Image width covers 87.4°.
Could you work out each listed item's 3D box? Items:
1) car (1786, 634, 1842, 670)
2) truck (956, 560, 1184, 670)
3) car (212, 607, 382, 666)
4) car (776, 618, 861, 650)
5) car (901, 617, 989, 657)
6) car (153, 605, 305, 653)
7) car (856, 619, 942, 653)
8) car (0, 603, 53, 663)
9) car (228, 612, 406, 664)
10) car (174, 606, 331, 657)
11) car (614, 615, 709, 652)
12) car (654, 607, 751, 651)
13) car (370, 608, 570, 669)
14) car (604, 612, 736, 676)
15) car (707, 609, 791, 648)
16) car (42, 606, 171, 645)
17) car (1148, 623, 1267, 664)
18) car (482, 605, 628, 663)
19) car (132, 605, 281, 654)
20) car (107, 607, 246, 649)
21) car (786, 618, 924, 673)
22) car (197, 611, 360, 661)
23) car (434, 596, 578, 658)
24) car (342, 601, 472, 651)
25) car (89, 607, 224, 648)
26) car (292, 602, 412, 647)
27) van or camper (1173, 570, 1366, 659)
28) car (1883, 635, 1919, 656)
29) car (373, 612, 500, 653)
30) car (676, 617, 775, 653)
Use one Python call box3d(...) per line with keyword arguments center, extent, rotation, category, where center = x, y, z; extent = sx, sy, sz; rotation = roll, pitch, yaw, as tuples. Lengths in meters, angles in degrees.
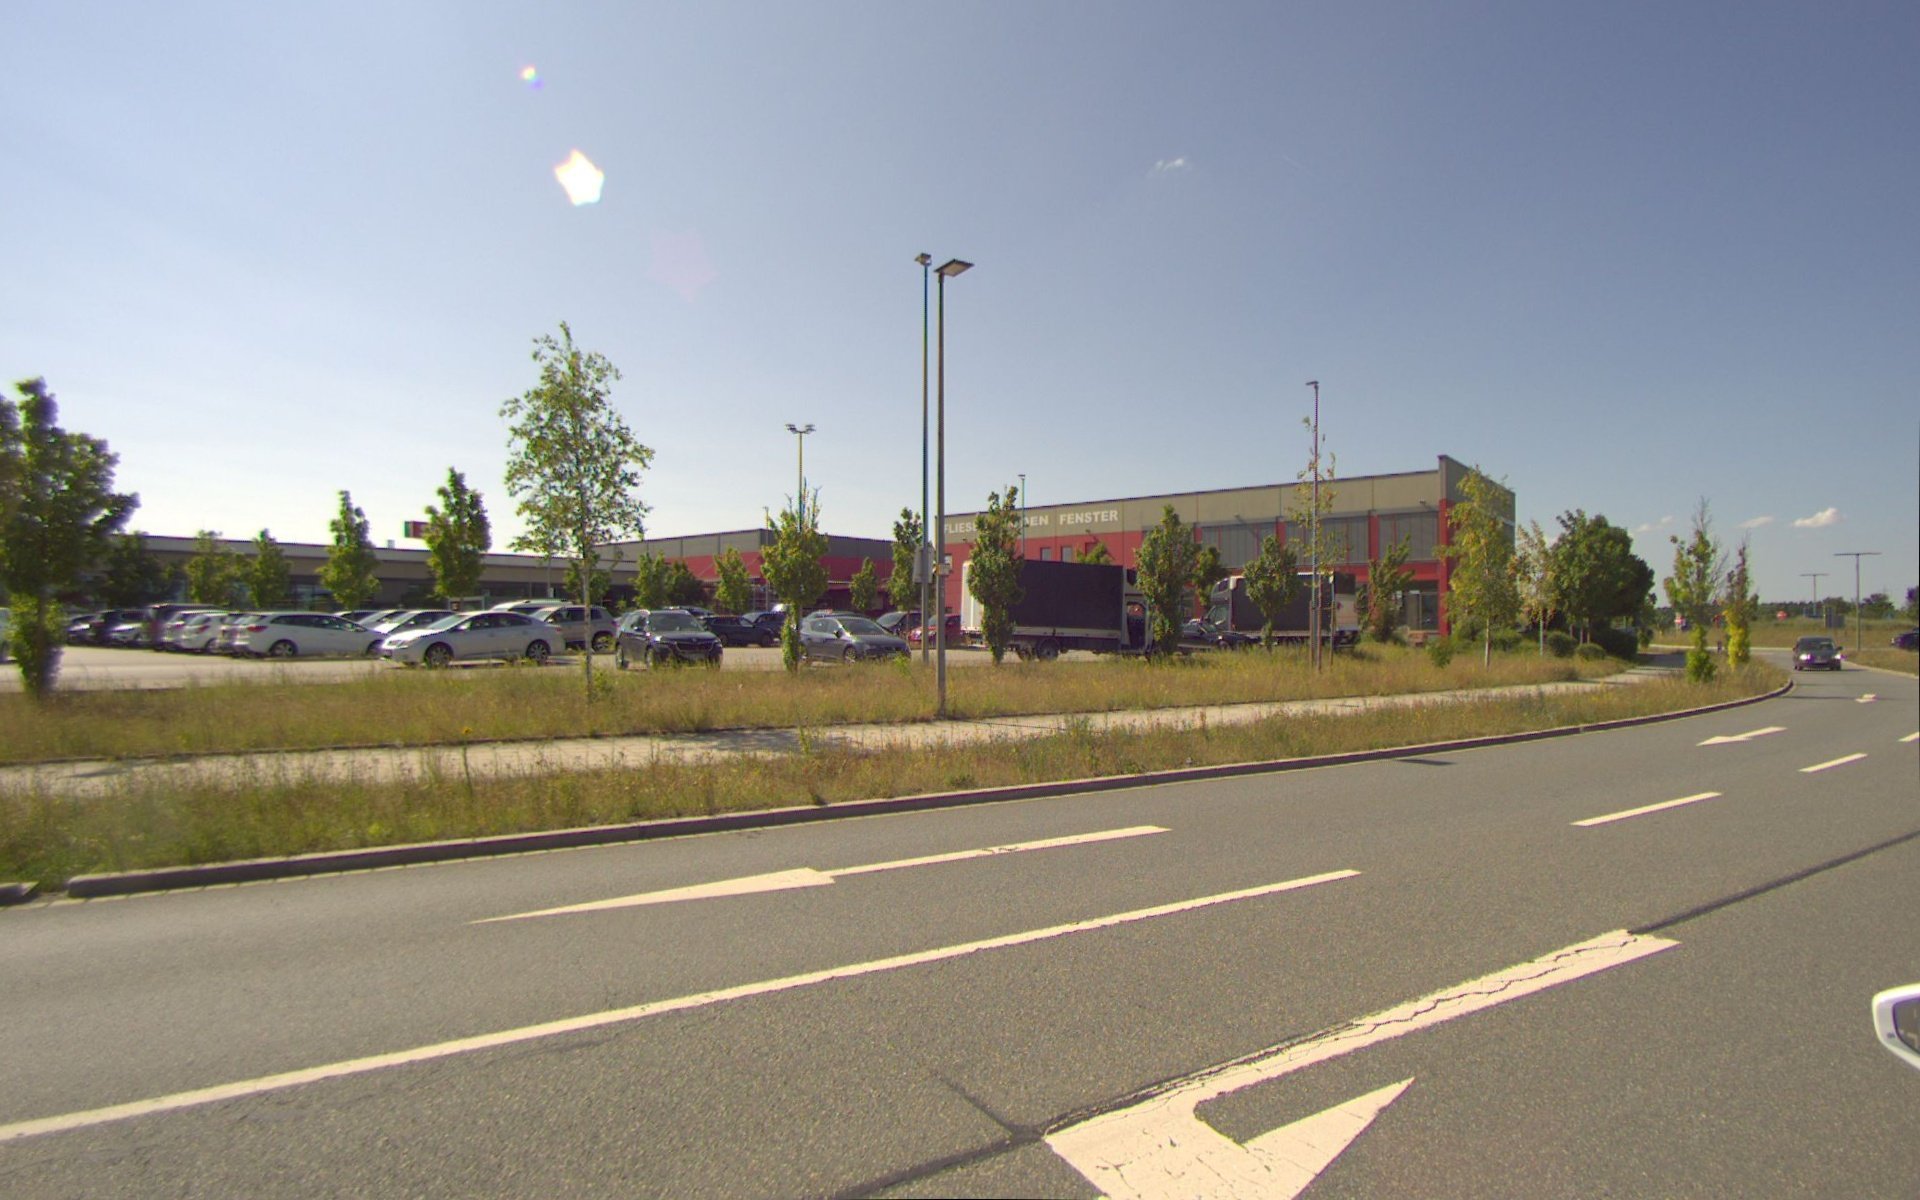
box3d(center=(45.932, 2.789, 54.110), extent=(1.926, 1.818, 4.411), rotation=(-2, -3, 36), category="car")
box3d(center=(3.740, 0.566, 34.037), extent=(7.375, 3.510, 2.315), rotation=(1, -1, -18), category="truck")
box3d(center=(-21.988, 1.210, 33.469), extent=(1.888, 1.827, 4.362), rotation=(-1, -2, 39), category="car")
box3d(center=(-7.273, 1.766, 51.904), extent=(1.809, 1.583, 4.366), rotation=(-1, -2, 37), category="car")
box3d(center=(-0.635, 1.709, 46.831), extent=(1.809, 1.796, 4.366), rotation=(-1, -2, 37), category="car")
box3d(center=(-28.160, 1.119, 38.847), extent=(1.885, 1.749, 4.370), rotation=(0, -2, 34), category="car")
box3d(center=(-2.907, 1.745, 48.760), extent=(1.809, 1.583, 4.366), rotation=(-1, -2, 37), category="car")
box3d(center=(-26.528, 0.878, 27.370), extent=(1.895, 1.568, 3.967), rotation=(1, -2, -31), category="car")
box3d(center=(-20.026, 1.173, 31.448), extent=(1.810, 1.532, 4.362), rotation=(-1, -2, 39), category="car")
box3d(center=(-26.054, 1.161, 37.148), extent=(1.883, 1.740, 4.375), rotation=(0, -2, 29), category="car")
box3d(center=(-15.026, 1.674, 50.717), extent=(1.810, 1.796, 4.362), rotation=(-1, -2, 39), category="car")
box3d(center=(-12.522, 1.421, 49.002), extent=(1.810, 2.020, 4.362), rotation=(-1, -2, 39), category="car")
box3d(center=(-13.309, 1.035, 27.533), extent=(1.811, 1.532, 4.598), rotation=(-1, -2, 41), category="car")
box3d(center=(-7.473, 1.086, 25.589), extent=(1.820, 1.477, 4.545), rotation=(2, -2, -36), category="car")
box3d(center=(-11.499, 1.567, 54.986), extent=(1.809, 2.020, 4.366), rotation=(-1, -2, 37), category="car")
box3d(center=(-40.621, 1.215, 47.898), extent=(1.886, 1.783, 4.368), rotation=(0, -2, 35), category="car")
box3d(center=(9.891, 1.706, 40.313), extent=(4.321, 1.572, 1.827), rotation=(-1, -2, 43), category="car")
box3d(center=(-13.870, 1.159, 34.600), extent=(1.810, 1.847, 4.362), rotation=(-1, -2, 39), category="car")
box3d(center=(-29.983, 1.184, 40.088), extent=(1.886, 1.817, 4.368), rotation=(0, -2, 35), category="car")
box3d(center=(-33.883, 1.213, 43.547), extent=(1.886, 1.747, 4.368), rotation=(0, -2, 35), category="car")
box3d(center=(-3.042, 1.239, 28.353), extent=(1.956, 1.401, 4.394), rotation=(2, -2, -36), category="car")
box3d(center=(-23.844, 1.240, 35.267), extent=(1.888, 1.639, 4.362), rotation=(-1, -2, 39), category="car")
box3d(center=(-16.259, 0.994, 36.164), extent=(1.810, 2.092, 4.362), rotation=(-1, -2, 39), category="car")
box3d(center=(-23.967, 1.149, 43.706), extent=(1.810, 2.051, 4.613), rotation=(-1, -2, 39), category="car")
box3d(center=(-35.972, 1.226, 45.049), extent=(1.886, 1.740, 4.368), rotation=(0, -2, 35), category="car")
box3d(center=(-29.217, 1.197, 48.376), extent=(1.810, 2.051, 4.613), rotation=(-1, -2, 39), category="car")
box3d(center=(13.093, 0.659, 42.988), extent=(7.613, 3.514, 2.540), rotation=(-1, -2, 44), category="van or camper")
box3d(center=(70.590, 3.369, 73.852), extent=(3.736, 1.537, 1.768), rotation=(-1, -2, 35), category="car")
box3d(center=(-21.836, 1.360, 42.048), extent=(1.810, 1.603, 4.362), rotation=(-1, -2, 39), category="car")
box3d(center=(-10.868, 1.606, 46.783), extent=(1.809, 1.583, 4.366), rotation=(-1, -2, 37), category="car")
